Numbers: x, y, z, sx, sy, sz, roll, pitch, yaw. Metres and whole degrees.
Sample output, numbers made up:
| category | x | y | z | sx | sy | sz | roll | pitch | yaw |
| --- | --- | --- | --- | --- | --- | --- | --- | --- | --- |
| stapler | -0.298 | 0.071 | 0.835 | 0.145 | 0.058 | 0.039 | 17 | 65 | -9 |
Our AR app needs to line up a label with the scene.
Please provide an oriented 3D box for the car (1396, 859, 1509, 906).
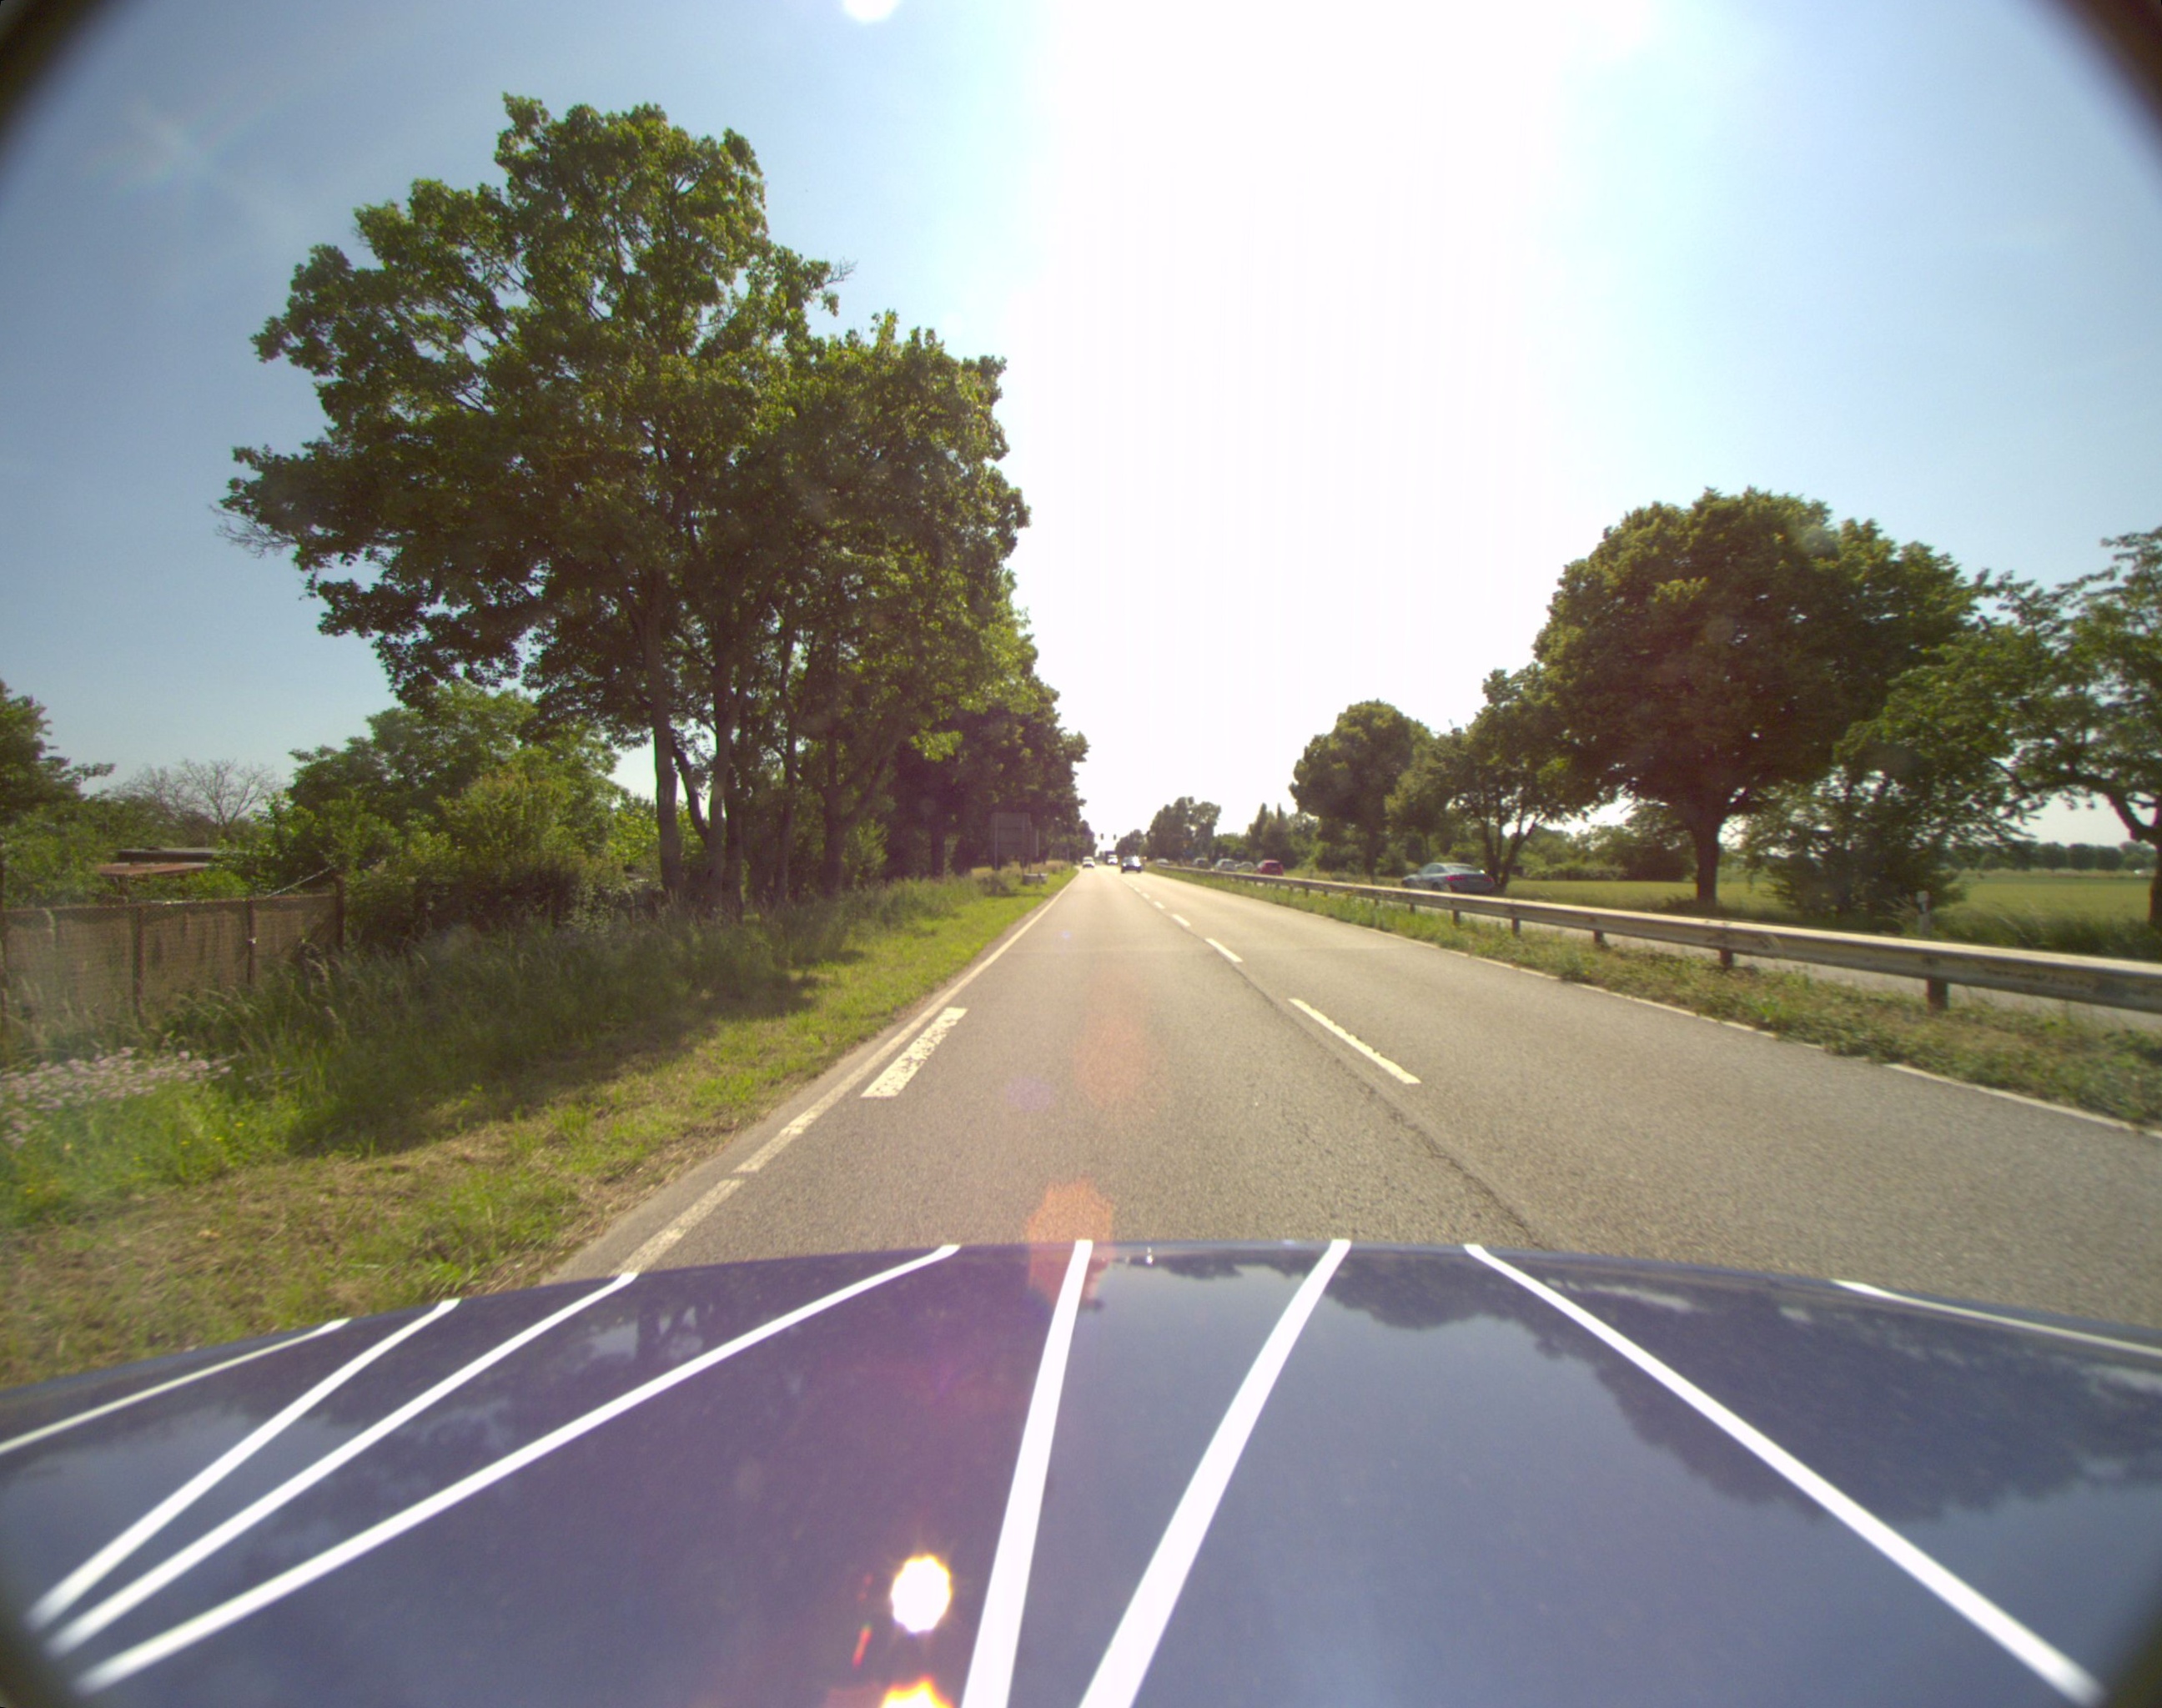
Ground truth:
| category | x | y | z | sx | sy | sz | roll | pitch | yaw |
| --- | --- | --- | --- | --- | --- | --- | --- | --- | --- |
| car | 14.006 | 1.014 | 29.039 | 1.960 | 1.581 | 4.865 | 0 | 0 | 0 |

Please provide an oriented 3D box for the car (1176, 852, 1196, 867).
| category | x | y | z | sx | sy | sz | roll | pitch | yaw |
| --- | --- | --- | --- | --- | --- | --- | --- | --- | --- |
| car | 11.660 | 0.590 | 84.766 | 1.765 | 1.581 | 3.750 | 0 | 0 | 0 |

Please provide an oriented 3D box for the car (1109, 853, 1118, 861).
| category | x | y | z | sx | sy | sz | roll | pitch | yaw |
| --- | --- | --- | --- | --- | --- | --- | --- | --- | --- |
| car | 7.248 | 0.682 | 168.975 | 1.886 | 1.775 | 4.000 | 0 | 0 | 1 |

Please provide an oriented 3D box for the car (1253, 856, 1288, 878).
| category | x | y | z | sx | sy | sz | roll | pitch | yaw |
| --- | --- | --- | --- | --- | --- | --- | --- | --- | --- |
| car | 14.727 | 0.988 | 59.358 | 1.765 | 1.581 | 3.894 | 0 | 0 | 0 |

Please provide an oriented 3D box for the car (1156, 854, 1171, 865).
| category | x | y | z | sx | sy | sz | roll | pitch | yaw |
| --- | --- | --- | --- | --- | --- | --- | --- | --- | --- |
| car | 12.359 | 0.827 | 114.044 | 1.765 | 1.581 | 3.750 | 0 | 0 | 0 |

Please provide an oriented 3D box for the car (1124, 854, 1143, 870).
| category | x | y | z | sx | sy | sz | roll | pitch | yaw |
| --- | --- | --- | --- | --- | --- | --- | --- | --- | --- |
| car | 5.386 | 0.796 | 78.519 | 1.860 | 1.507 | 4.101 | 0 | 0 | 3 |

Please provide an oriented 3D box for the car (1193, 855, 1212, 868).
| category | x | y | z | sx | sy | sz | roll | pitch | yaw |
| --- | --- | --- | --- | --- | --- | --- | --- | --- | --- |
| car | 15.489 | 0.886 | 96.783 | 1.765 | 1.581 | 3.894 | 0 | 0 | 0 |

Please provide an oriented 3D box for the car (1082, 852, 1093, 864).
| category | x | y | z | sx | sy | sz | roll | pitch | yaw |
| --- | --- | --- | --- | --- | --- | --- | --- | --- | --- |
| car | 1.006 | 0.651 | 121.857 | 1.777 | 1.863 | 4.580 | 0 | 0 | -1 |

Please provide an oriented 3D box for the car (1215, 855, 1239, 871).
| category | x | y | z | sx | sy | sz | roll | pitch | yaw |
| --- | --- | --- | --- | --- | --- | --- | --- | --- | --- |
| car | 15.452 | 0.962 | 80.415 | 1.765 | 1.581 | 3.894 | 0 | 0 | 0 |
